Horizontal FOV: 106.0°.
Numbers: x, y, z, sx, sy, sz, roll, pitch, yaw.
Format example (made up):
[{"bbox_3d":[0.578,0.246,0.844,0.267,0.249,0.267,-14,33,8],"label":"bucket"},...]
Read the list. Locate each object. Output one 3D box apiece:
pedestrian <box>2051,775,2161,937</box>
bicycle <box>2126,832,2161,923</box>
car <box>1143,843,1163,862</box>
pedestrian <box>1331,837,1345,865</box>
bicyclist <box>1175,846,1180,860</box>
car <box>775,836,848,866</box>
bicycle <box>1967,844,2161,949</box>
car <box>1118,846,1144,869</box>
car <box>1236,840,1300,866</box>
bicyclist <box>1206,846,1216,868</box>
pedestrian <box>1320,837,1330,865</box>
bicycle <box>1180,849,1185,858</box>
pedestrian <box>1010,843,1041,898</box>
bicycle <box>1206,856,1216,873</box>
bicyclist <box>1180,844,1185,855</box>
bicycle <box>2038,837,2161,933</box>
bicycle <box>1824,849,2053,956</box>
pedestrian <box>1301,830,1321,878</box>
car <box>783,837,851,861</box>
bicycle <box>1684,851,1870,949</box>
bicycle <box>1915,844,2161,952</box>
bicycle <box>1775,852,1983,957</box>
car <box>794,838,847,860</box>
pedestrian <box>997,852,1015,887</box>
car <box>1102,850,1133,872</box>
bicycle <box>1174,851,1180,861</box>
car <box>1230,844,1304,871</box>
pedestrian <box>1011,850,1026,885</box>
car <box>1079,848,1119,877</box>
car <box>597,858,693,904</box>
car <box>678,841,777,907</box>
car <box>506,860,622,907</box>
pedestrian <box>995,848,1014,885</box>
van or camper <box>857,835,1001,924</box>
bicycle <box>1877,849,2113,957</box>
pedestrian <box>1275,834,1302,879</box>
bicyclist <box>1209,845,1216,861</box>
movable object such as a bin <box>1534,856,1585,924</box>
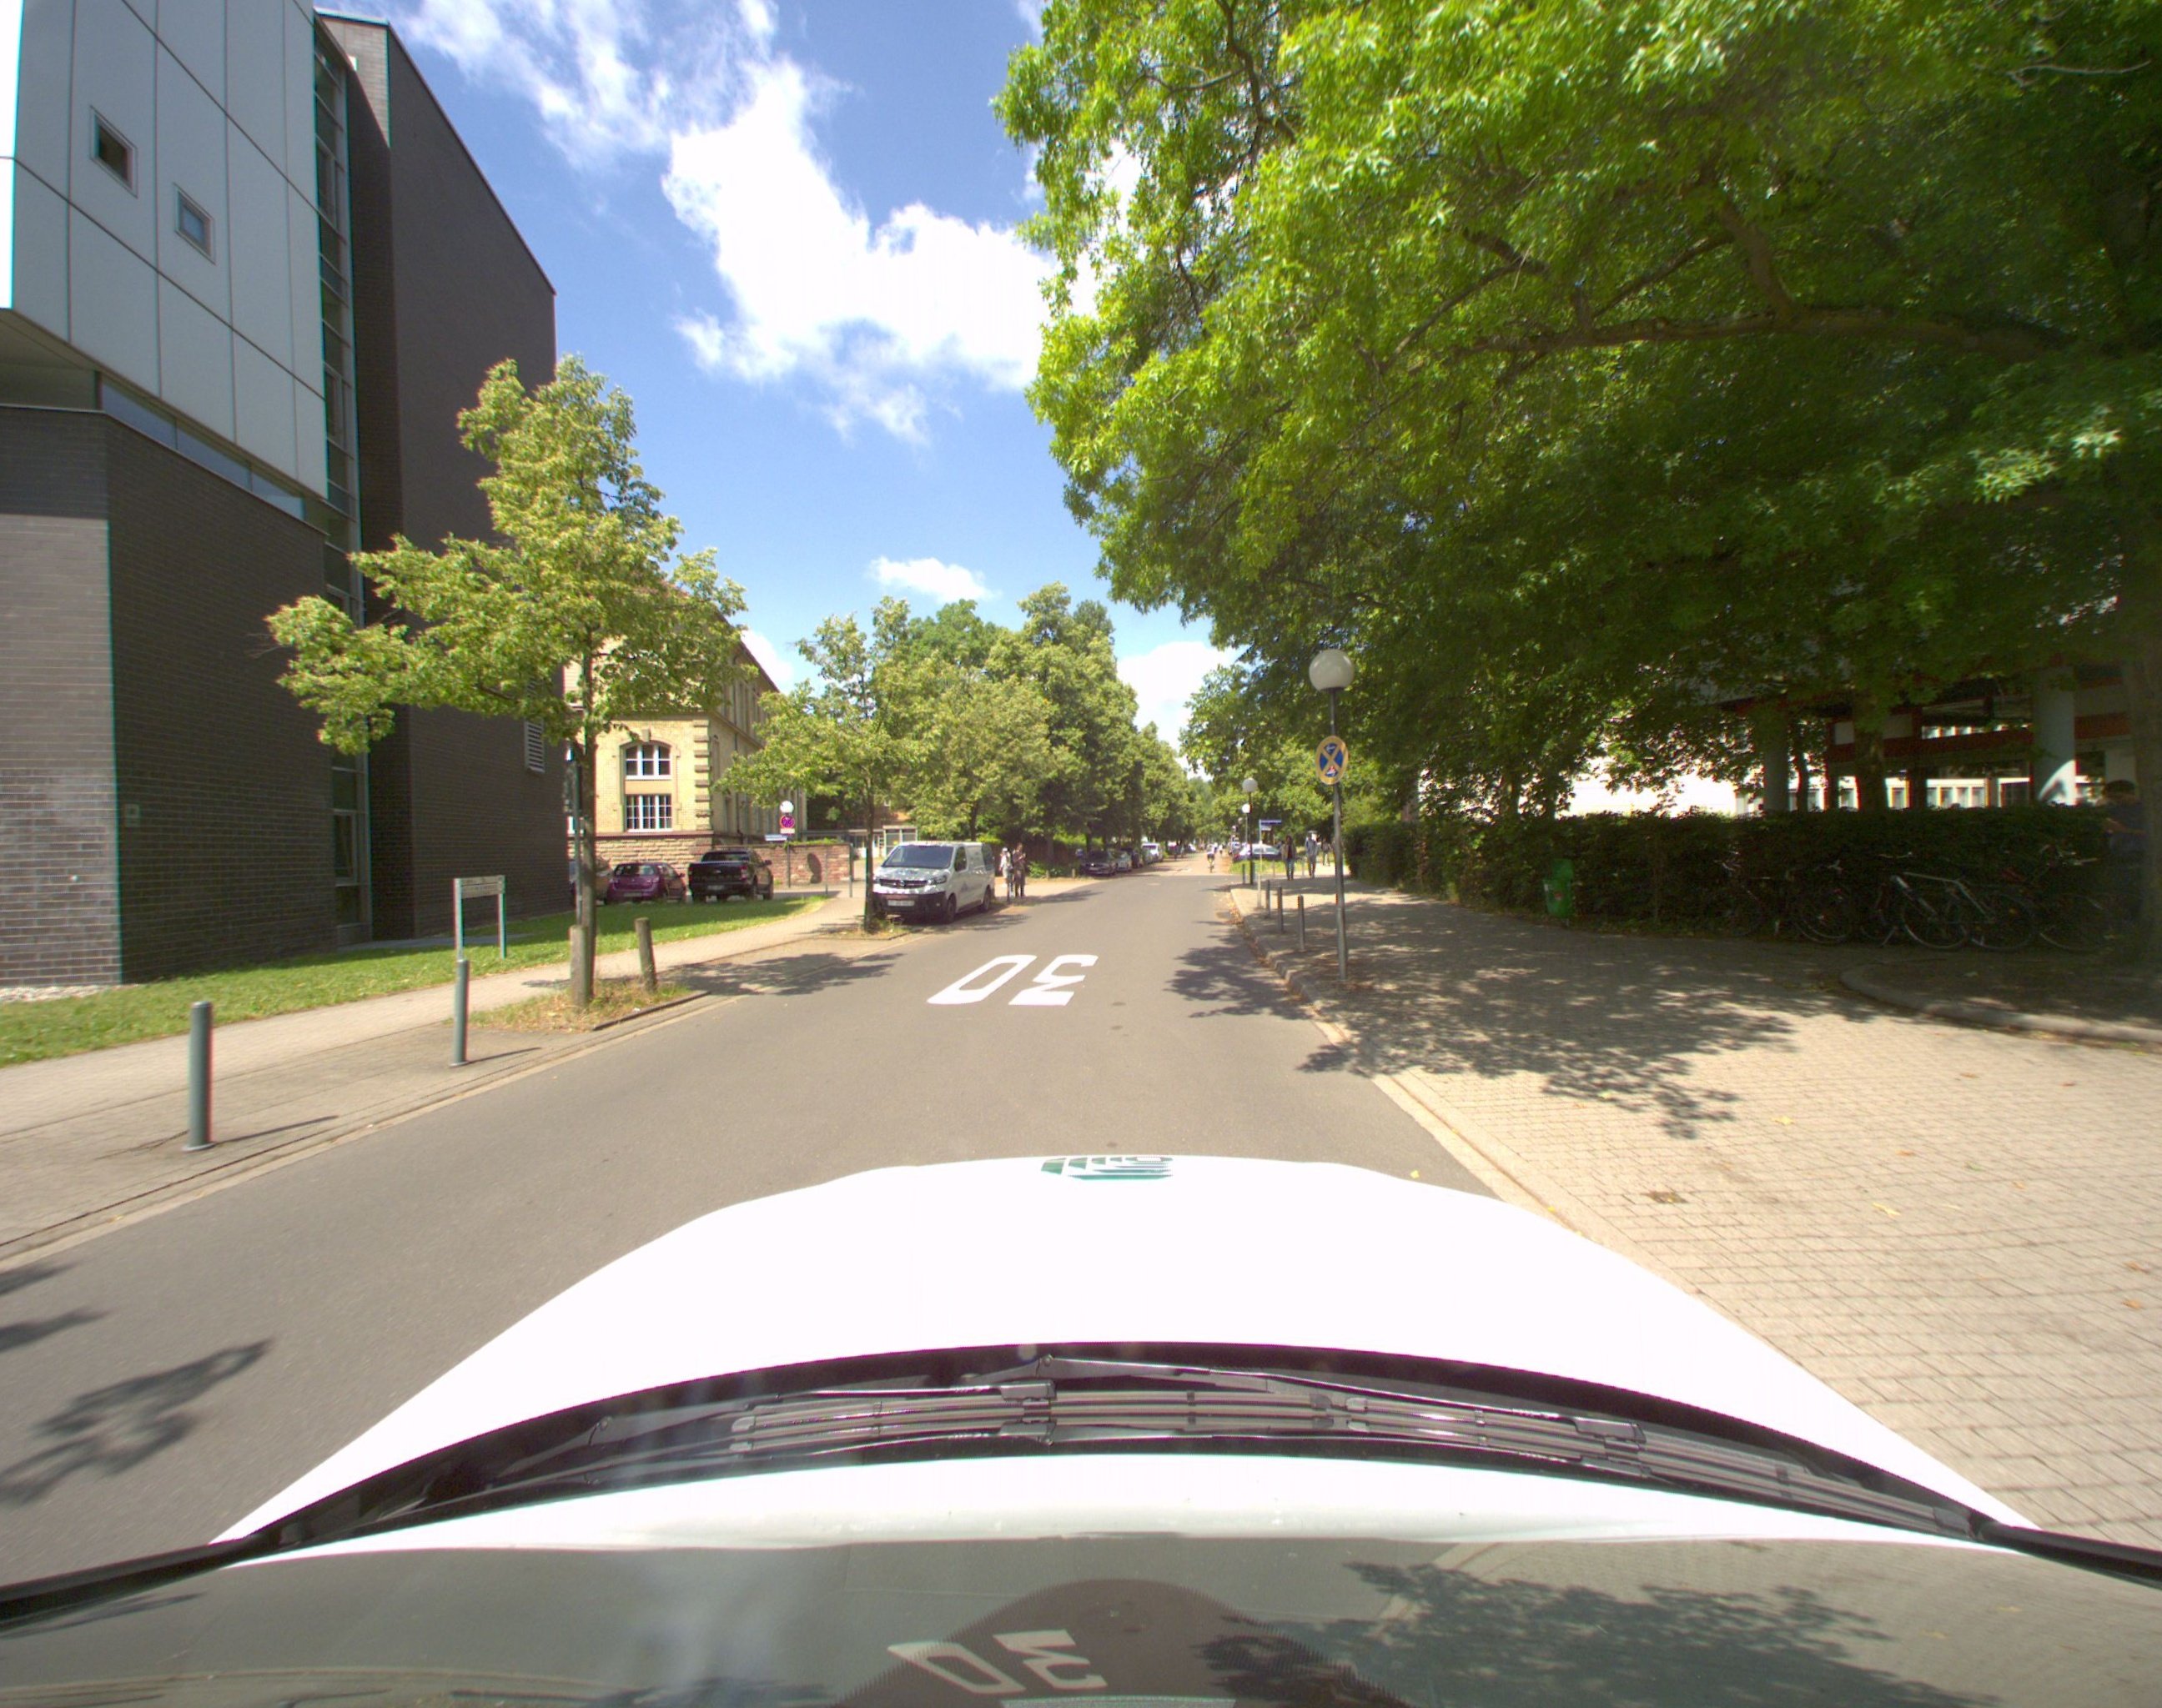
[{"bbox_3d":[12.265,0.020,9.678,0.542,1.837,0.760,-1,0,-6],"label":"pedestrian"},{"bbox_3d":[13.679,0.283,9.475,0.498,1.119,1.867,-1,0,-7],"label":"bicycle"},{"bbox_3d":[6.942,-0.157,78.138,1.606,1.815,4.010,-1,0,9],"label":"car"},{"bbox_3d":[16.286,-0.180,51.578,0.815,1.755,0.631,-1,0,15],"label":"pedestrian"},{"bbox_3d":[10.412,-0.115,87.860,0.560,1.498,0.829,-1,0,8],"label":"bicyclist"},{"bbox_3d":[-17.382,-0.200,52.561,4.182,1.823,1.981,-1,0,-29],"label":"car"},{"bbox_3d":[11.742,0.451,9.561,0.498,1.119,1.867,-1,0,-7],"label":"bicycle"},{"bbox_3d":[3.892,0.251,63.073,1.606,1.679,4.010,-1,0,9],"label":"car"},{"bbox_3d":[13.015,-0.069,57.017,4.231,1.588,1.815,-2,0,9],"label":"car"},{"bbox_3d":[7.966,0.180,49.895,0.606,1.296,0.612,-1,0,8],"label":"bicyclist"},{"bbox_3d":[15.571,-0.186,51.963,0.597,1.755,0.631,-1,0,15],"label":"pedestrian"},{"bbox_3d":[12.180,-0.068,97.538,0.610,1.001,1.427,-1,0,9],"label":"bicycle"},{"bbox_3d":[-1.903,0.545,27.819,0.717,1.857,0.796,-1,0,26],"label":"pedestrian"},{"bbox_3d":[7.979,0.657,49.942,0.610,1.001,1.427,-1,0,9],"label":"bicycle"},{"bbox_3d":[12.184,-0.589,97.630,0.605,1.296,0.612,-1,0,8],"label":"bicyclist"},{"bbox_3d":[12.877,0.357,9.755,0.498,1.119,1.867,-1,0,-7],"label":"bicycle"},{"bbox_3d":[9.956,0.512,9.581,0.498,1.119,1.932,-1,0,-7],"label":"bicycle"},{"bbox_3d":[9.227,-0.005,32.689,0.667,1.872,0.794,-1,0,12],"label":"pedestrian"},{"bbox_3d":[-17.920,-0.330,55.218,4.113,1.517,1.740,-1,0,-29],"label":"car"},{"bbox_3d":[8.735,0.530,10.341,0.618,1.119,1.867,-1,0,-7],"label":"bicycle"},{"bbox_3d":[11.079,0.459,9.521,0.498,1.119,1.935,-1,0,-7],"label":"bicycle"},{"bbox_3d":[9.413,0.541,9.725,0.498,1.119,1.867,-1,0,-7],"label":"bicycle"},{"bbox_3d":[-20.568,-0.402,64.446,3.862,1.621,1.747,-1,0,-16],"label":"car"},{"bbox_3d":[-3.326,0.669,36.122,0.588,1.527,0.489,-1,0,-32],"label":"pedestrian"},{"bbox_3d":[2.496,0.465,54.475,1.606,1.387,4.010,-1,0,9],"label":"car"},{"bbox_3d":[10.323,0.193,87.810,0.574,1.001,1.427,-1,0,9],"label":"bicycle"},{"bbox_3d":[11.878,0.200,52.218,4.458,1.525,1.815,-2,0,9],"label":"car"},{"bbox_3d":[-2.846,0.595,37.017,0.496,1.585,0.490,-1,0,-24],"label":"pedestrian"},{"bbox_3d":[1.057,0.453,46.948,1.749,1.522,4.122,-1,0,9],"label":"car"},{"bbox_3d":[-14.157,0.834,26.681,1.819,1.324,3.751,-1,0,-13],"label":"car"},{"bbox_3d":[-11.621,0.590,27.168,2.178,1.925,5.161,-1,0,-14],"label":"car"},{"bbox_3d":[-16.326,0.895,25.961,1.819,1.324,4.144,1,0,-13],"label":"car"},{"bbox_3d":[-3.499,0.573,37.427,0.631,1.663,0.596,-1,0,-37],"label":"pedestrian"},{"bbox_3d":[-3.621,0.536,20.590,1.942,1.923,5.432,0,0,8],"label":"van or camper"},{"bbox_3d":[10.507,0.516,9.477,0.498,1.119,1.867,-1,0,-7],"label":"bicycle"},{"bbox_3d":[8.358,0.101,32.802,0.814,1.755,0.845,-5,0,19],"label":"pedestrian"},{"bbox_3d":[10.894,-0.115,67.396,0.519,1.296,0.612,-1,0,8],"label":"bicyclist"},{"bbox_3d":[7.729,0.573,13.160,0.488,1.072,0.504,-1,0,-5],"label":"movable object such as a bin"}]
